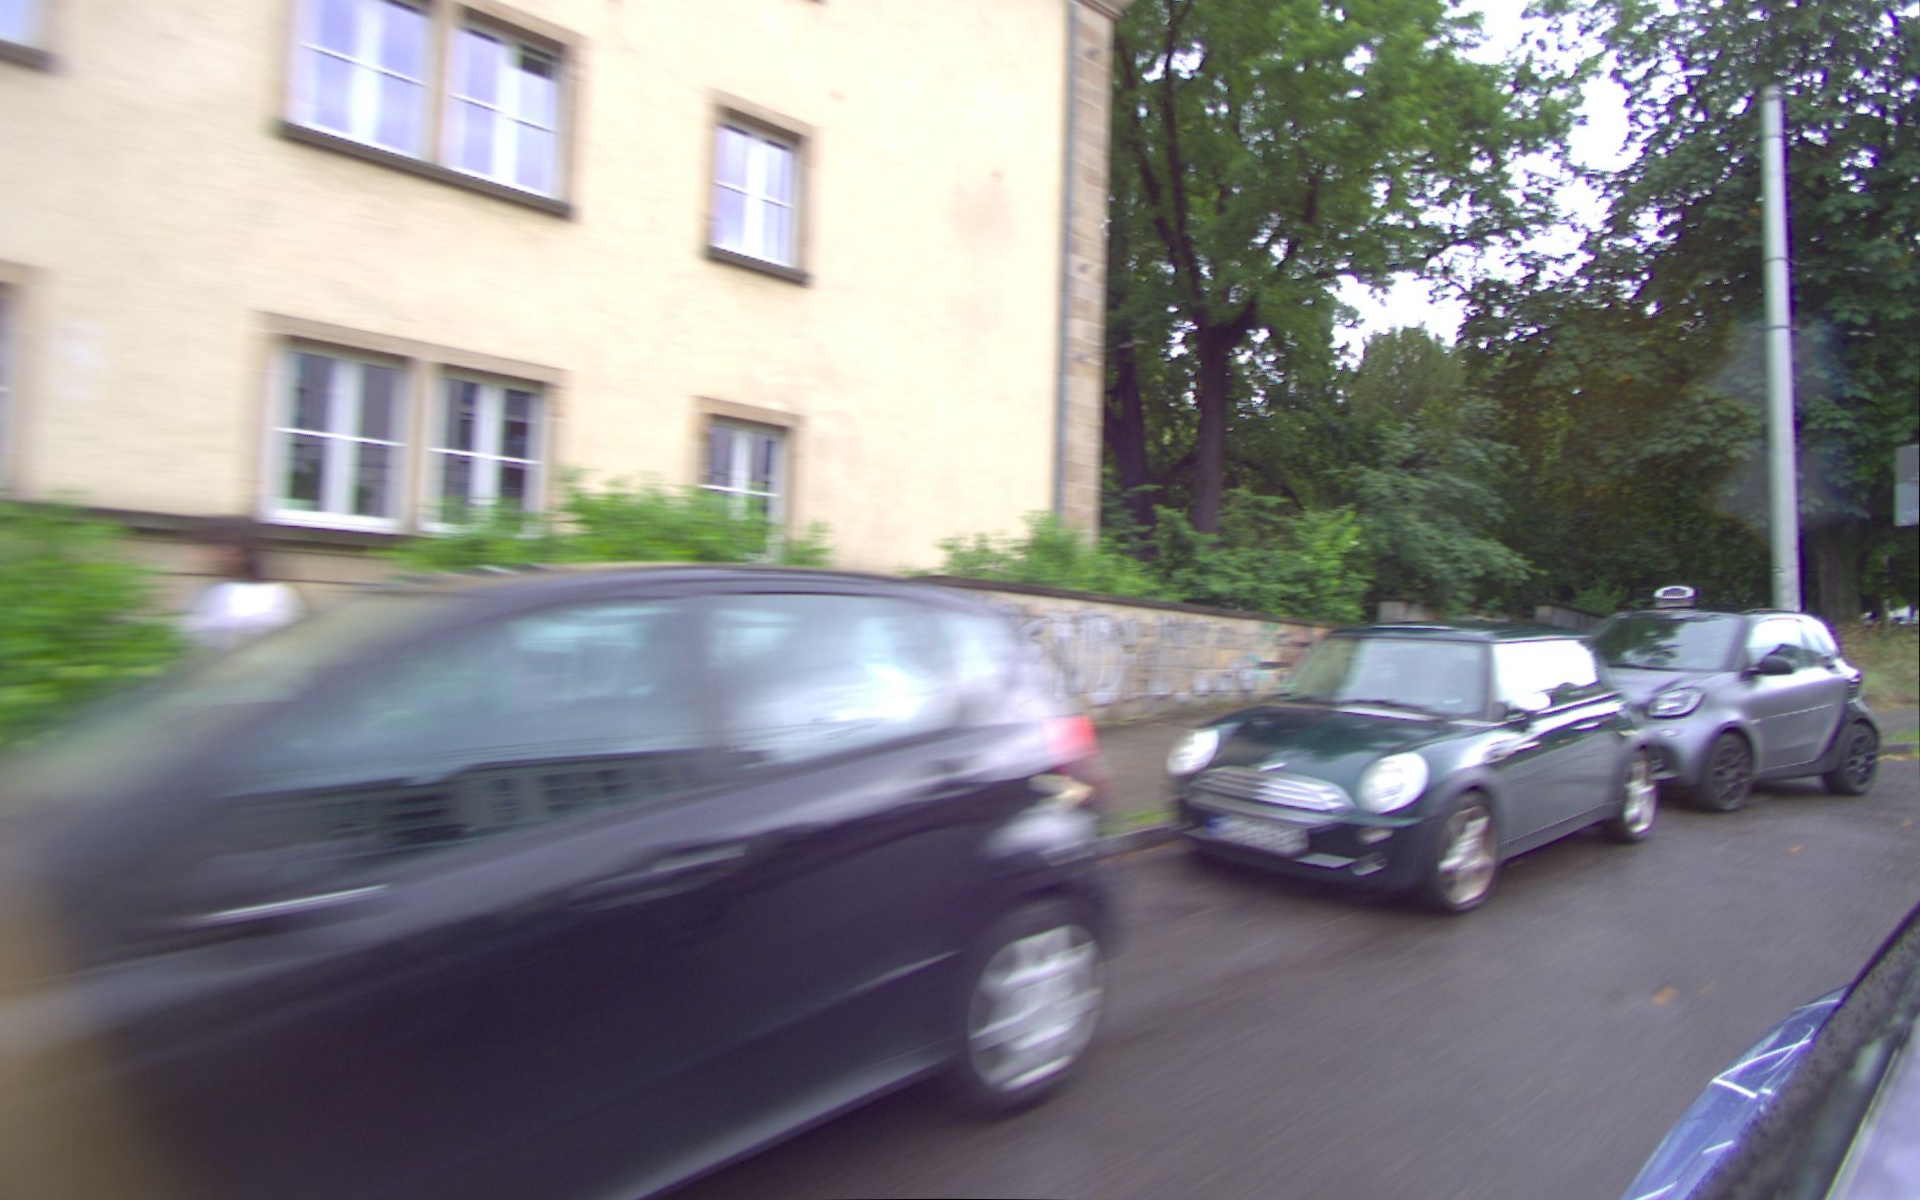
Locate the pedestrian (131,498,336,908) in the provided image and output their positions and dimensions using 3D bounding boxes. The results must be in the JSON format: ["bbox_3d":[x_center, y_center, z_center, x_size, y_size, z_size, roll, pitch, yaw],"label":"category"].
[{"bbox_3d":[-3.491,0.445,4.902,0.725,1.777,0.720,1,0,-35],"label":"pedestrian"}]

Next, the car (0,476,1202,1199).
[{"bbox_3d":[-1.101,0.625,2.722,1.666,1.593,3.793,1,0,45],"label":"car"}]

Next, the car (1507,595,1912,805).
[{"bbox_3d":[6.248,0.733,8.490,2.664,1.484,1.606,1,0,-24],"label":"car"}]

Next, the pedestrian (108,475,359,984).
[{"bbox_3d":[-2.868,0.451,4.042,0.725,1.777,0.720,1,0,-35],"label":"pedestrian"}]

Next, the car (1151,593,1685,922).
[{"bbox_3d":[2.951,0.716,6.214,3.578,1.434,1.539,1,0,-39],"label":"car"}]
